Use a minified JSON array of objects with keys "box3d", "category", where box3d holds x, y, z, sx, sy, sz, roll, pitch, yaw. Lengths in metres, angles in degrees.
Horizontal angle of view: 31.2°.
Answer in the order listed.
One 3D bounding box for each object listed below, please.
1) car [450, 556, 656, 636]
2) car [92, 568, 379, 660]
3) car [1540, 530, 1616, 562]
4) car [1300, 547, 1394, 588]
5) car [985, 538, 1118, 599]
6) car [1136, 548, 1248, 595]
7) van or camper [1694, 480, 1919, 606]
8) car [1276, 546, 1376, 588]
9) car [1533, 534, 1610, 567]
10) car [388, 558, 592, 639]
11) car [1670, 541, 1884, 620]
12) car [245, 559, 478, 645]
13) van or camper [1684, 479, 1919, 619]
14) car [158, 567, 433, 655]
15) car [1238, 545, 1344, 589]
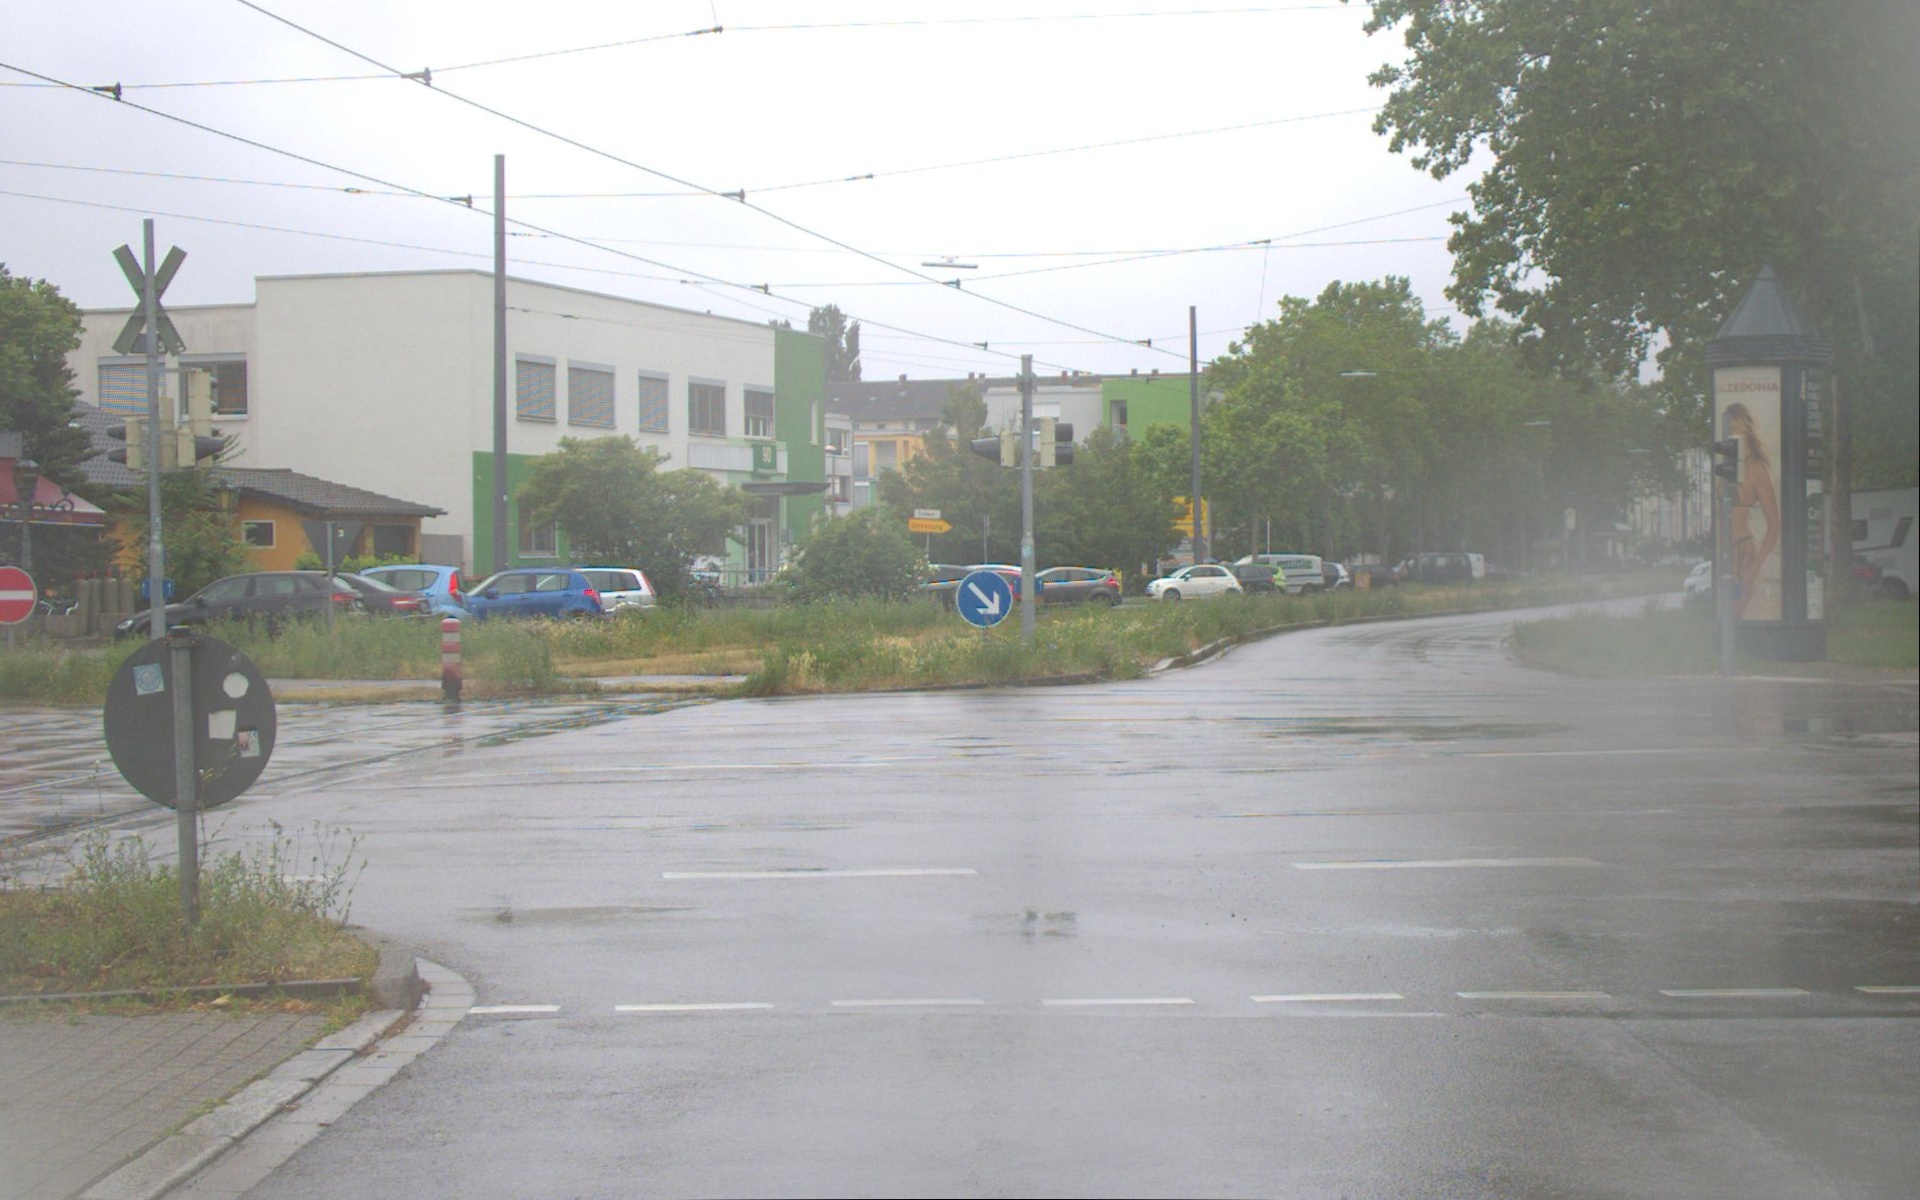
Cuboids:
[{"box3d":[-8.646,-0.093,72.912,4.107,1.635,1.930,-1,0,-14],"category":"car"},{"box3d":[-12.388,0.229,58.988,4.477,1.413,1.858,-2,0,1],"category":"car"},{"box3d":[36.560,-3.203,203.416,3.986,1.826,2.000,1,0,-5],"category":"car"},{"box3d":[17.892,-1.513,158.916,3.986,1.826,2.000,1,0,-5],"category":"car"},{"box3d":[2.909,-1.017,110.127,3.986,1.881,2.000,1,0,-7],"category":"car"},{"box3d":[8.528,-1.054,126.641,3.773,1.697,1.837,1,0,-10],"category":"car"},{"box3d":[23.214,-1.483,89.704,7.434,3.167,3.259,1,1,22],"category":"van or camper"},{"box3d":[16.371,-1.483,153.846,3.986,1.826,2.001,1,0,-11],"category":"car"},{"box3d":[35.312,-2.875,198.685,3.986,1.826,2.000,1,0,-5],"category":"car"},{"box3d":[-9.546,-0.045,69.742,3.986,1.576,1.930,0,0,-11],"category":"car"},{"box3d":[18.451,-0.447,77.601,4.449,1.711,1.998,1,1,21],"category":"car"},{"box3d":[-11.253,0.027,64.784,3.987,1.576,1.858,0,0,4],"category":"car"},{"box3d":[20.881,-1.182,80.543,7.328,3.167,3.259,1,1,18],"category":"van or camper"},{"box3d":[-11.825,0.181,61.396,4.497,1.413,1.858,-2,0,1],"category":"car"},{"box3d":[13.940,-1.390,144.854,3.986,1.752,2.011,1,0,-11],"category":"car"}]
